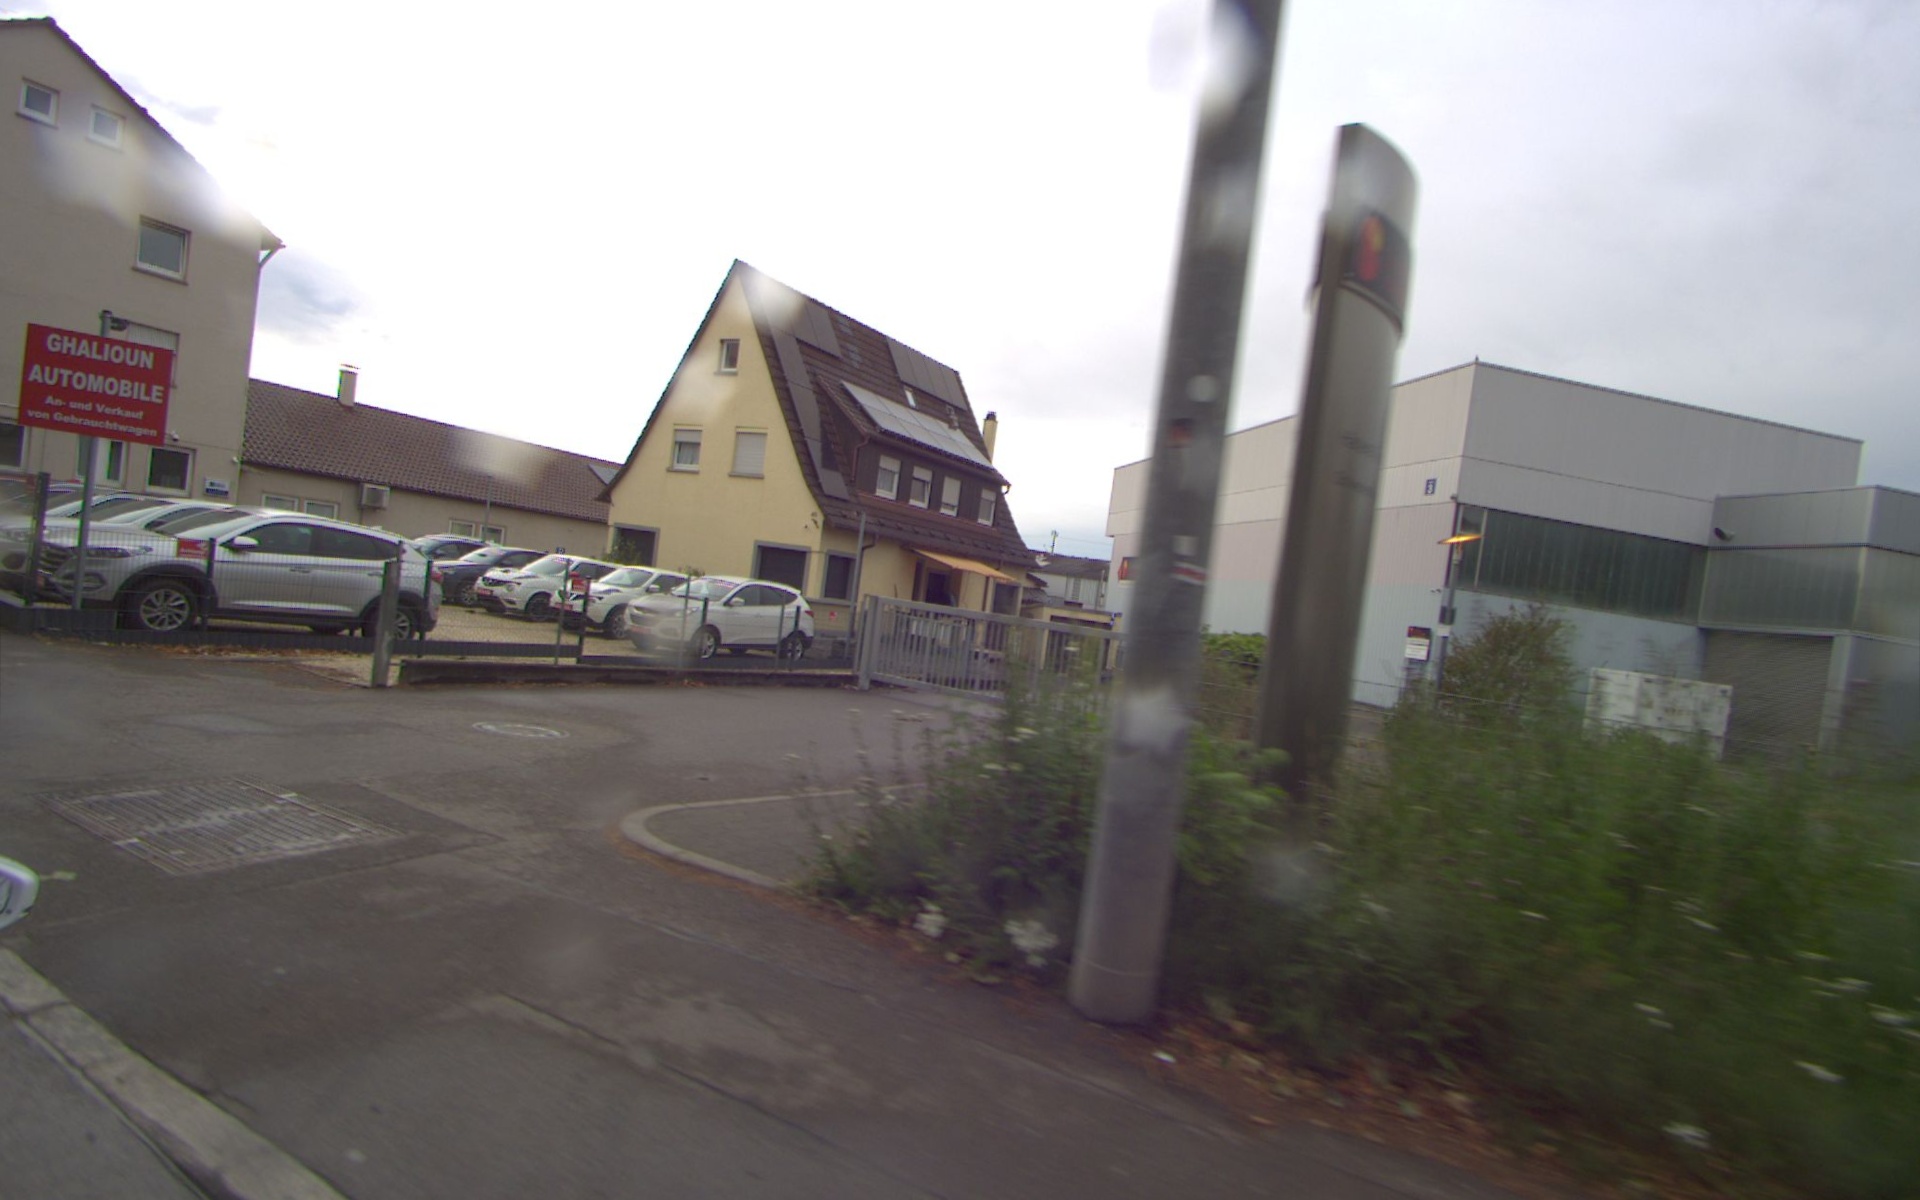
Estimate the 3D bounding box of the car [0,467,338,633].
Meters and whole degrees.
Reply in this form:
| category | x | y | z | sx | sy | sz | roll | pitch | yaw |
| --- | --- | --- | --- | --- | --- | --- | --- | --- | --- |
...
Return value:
| category | x | y | z | sx | sy | sz | roll | pitch | yaw |
| --- | --- | --- | --- | --- | --- | --- | --- | --- | --- |
| car | -11.497 | -0.636 | 14.366 | 1.761 | 1.744 | 3.957 | 7 | -2 | 31 |

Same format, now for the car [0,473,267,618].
| category | x | y | z | sx | sy | sz | roll | pitch | yaw |
| --- | --- | --- | --- | --- | --- | --- | --- | --- | --- |
| car | -13.665 | -0.853 | 15.778 | 1.839 | 1.756 | 4.076 | 6 | -3 | 31 |

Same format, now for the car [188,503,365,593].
| category | x | y | z | sx | sy | sz | roll | pitch | yaw |
| --- | --- | --- | --- | --- | --- | --- | --- | --- | --- |
| car | -15.242 | -1.169 | 22.414 | 3.567 | 1.548 | 1.812 | 6 | -2 | 31 |

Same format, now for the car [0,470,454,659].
| category | x | y | z | sx | sy | sz | roll | pitch | yaw |
| --- | --- | --- | --- | --- | --- | --- | --- | --- | --- |
| car | -9.269 | -0.338 | 13.049 | 1.967 | 1.788 | 4.311 | 6 | -2 | 31 |

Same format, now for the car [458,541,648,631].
| category | x | y | z | sx | sy | sz | roll | pitch | yaw |
| --- | --- | --- | --- | --- | --- | --- | --- | --- | --- |
| car | -9.417 | -0.278 | 23.570 | 1.728 | 1.549 | 3.775 | 7 | -2 | 27 |

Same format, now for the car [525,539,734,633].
| category | x | y | z | sx | sy | sz | roll | pitch | yaw |
| --- | --- | --- | --- | --- | --- | --- | --- | --- | --- |
| car | -7.199 | -0.257 | 22.317 | 1.966 | 1.485 | 3.997 | 6 | -3 | 30 |

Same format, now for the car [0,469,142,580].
| category | x | y | z | sx | sy | sz | roll | pitch | yaw |
| --- | --- | --- | --- | --- | --- | --- | --- | --- | --- |
| car | -18.142 | -1.552 | 18.551 | 1.839 | 1.756 | 4.237 | 6 | -3 | 31 |

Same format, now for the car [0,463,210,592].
| category | x | y | z | sx | sy | sz | roll | pitch | yaw |
| --- | --- | --- | --- | --- | --- | --- | --- | --- | --- |
| car | -15.807 | -1.303 | 17.236 | 1.839 | 1.756 | 4.237 | 6 | -3 | 31 |

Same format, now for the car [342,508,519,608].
| category | x | y | z | sx | sy | sz | roll | pitch | yaw |
| --- | --- | --- | --- | --- | --- | --- | --- | --- | --- |
| car | -13.743 | -1.037 | 26.300 | 1.695 | 2.036 | 3.589 | 6 | -2 | 29 |

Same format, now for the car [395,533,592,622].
| category | x | y | z | sx | sy | sz | roll | pitch | yaw |
| --- | --- | --- | --- | --- | --- | --- | --- | --- | --- |
| car | -11.554 | -0.512 | 25.201 | 1.764 | 1.618 | 4.094 | 6 | -3 | 30 |

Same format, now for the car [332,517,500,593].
| category | x | y | z | sx | sy | sz | roll | pitch | yaw |
| --- | --- | --- | --- | --- | --- | --- | --- | --- | --- |
| car | -16.139 | -1.300 | 29.928 | 3.974 | 1.611 | 1.801 | 9 | -3 | -42 |

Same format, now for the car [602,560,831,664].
| category | x | y | z | sx | sy | sz | roll | pitch | yaw |
| --- | --- | --- | --- | --- | --- | --- | --- | --- | --- |
| car | -4.860 | 0.330 | 20.760 | 1.838 | 1.646 | 4.511 | 7 | -1 | 31 |
